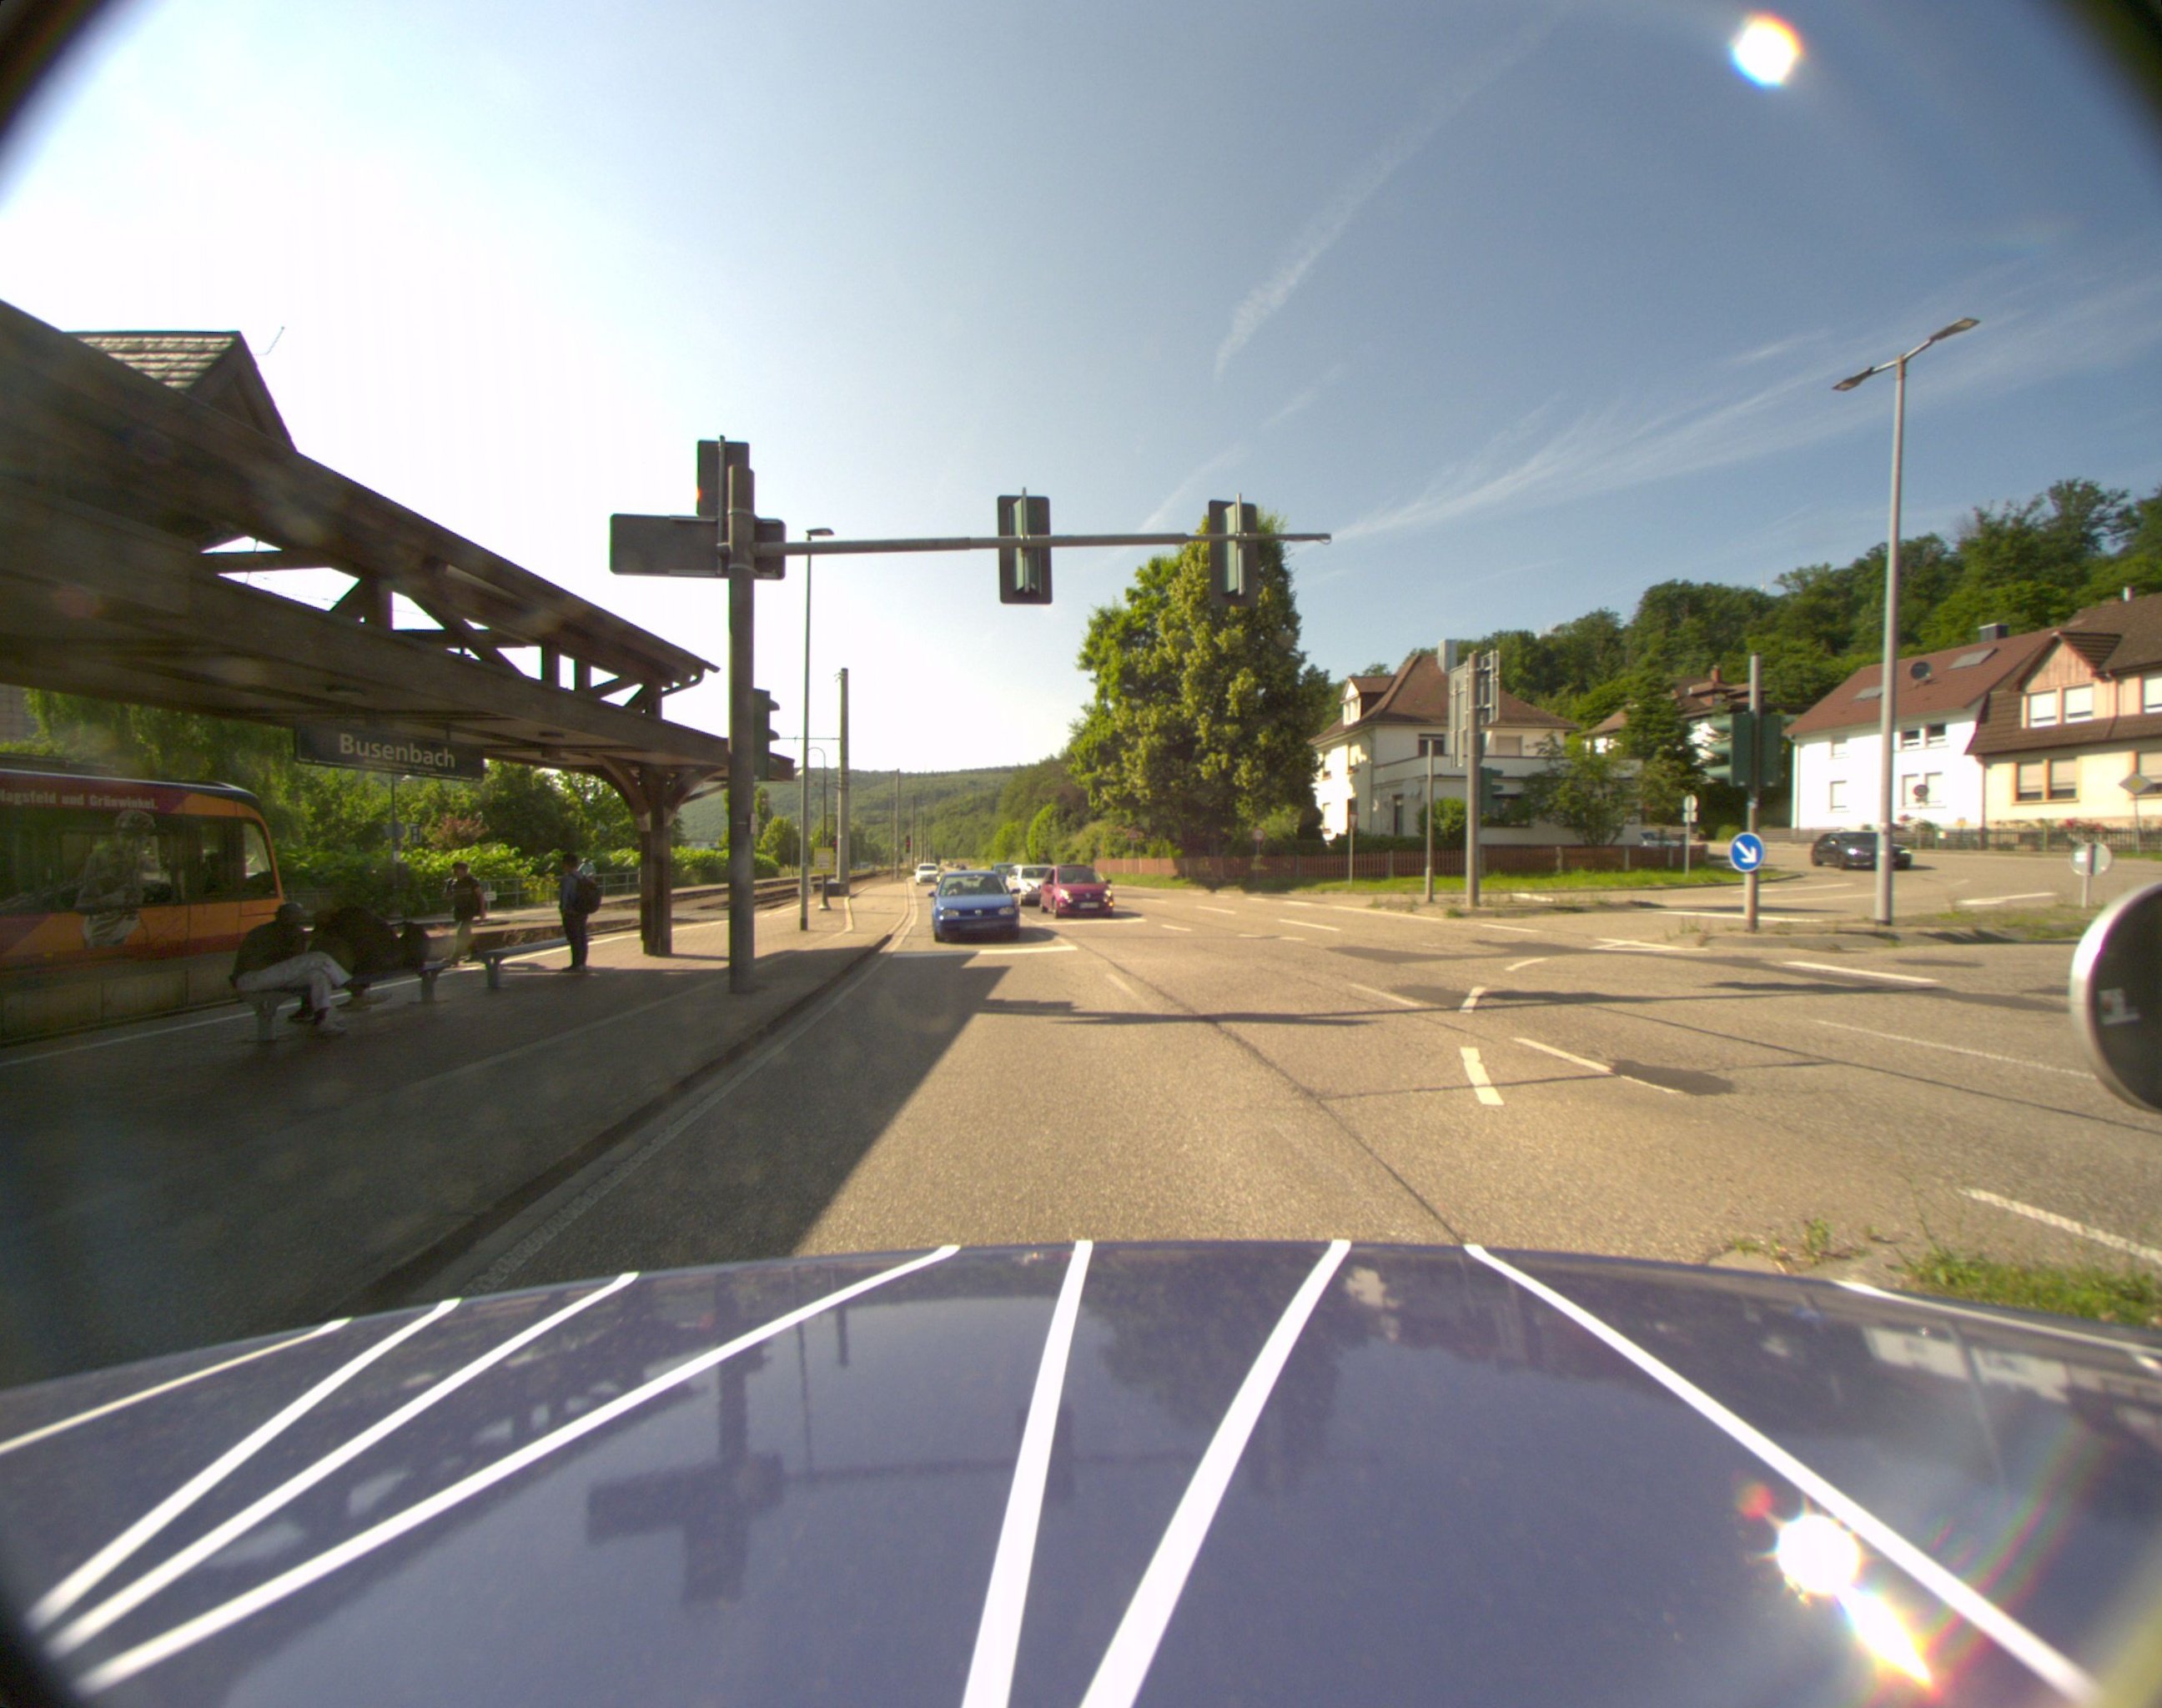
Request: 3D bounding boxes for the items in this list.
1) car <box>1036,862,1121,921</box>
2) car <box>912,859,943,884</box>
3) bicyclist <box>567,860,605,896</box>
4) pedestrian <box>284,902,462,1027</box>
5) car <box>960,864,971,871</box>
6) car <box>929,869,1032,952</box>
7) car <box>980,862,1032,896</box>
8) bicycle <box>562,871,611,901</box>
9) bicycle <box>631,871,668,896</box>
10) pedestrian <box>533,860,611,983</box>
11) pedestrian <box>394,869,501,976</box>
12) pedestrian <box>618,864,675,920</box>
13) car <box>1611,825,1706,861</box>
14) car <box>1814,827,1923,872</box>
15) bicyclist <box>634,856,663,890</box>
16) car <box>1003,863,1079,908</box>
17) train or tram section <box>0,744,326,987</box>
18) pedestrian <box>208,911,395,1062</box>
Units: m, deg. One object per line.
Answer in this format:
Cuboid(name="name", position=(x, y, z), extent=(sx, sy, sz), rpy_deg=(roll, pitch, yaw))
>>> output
Cuboid(name="car", position=(-0.164, 1.034, 22.266), extent=(1.663, 1.525, 3.951), rpy_deg=(-1, -1, -12))
Cuboid(name="car", position=(-10.843, 1.222, 53.940), extent=(2.000, 1.575, 3.997), rpy_deg=(-3, 0, -10))
Cuboid(name="bicyclist", position=(-22.026, 1.060, 33.858), extent=(1.010, 1.544, 1.040), rpy_deg=(-3, -1, -7))
Cuboid(name="pedestrian", position=(-7.510, 1.135, 8.128), extent=(1.010, 1.153, 0.948), rpy_deg=(-1, 1, -10))
Cuboid(name="car", position=(-28.415, 3.335, 186.735), extent=(2.001, 1.673, 3.995), rpy_deg=(-3, -1, -16))
Cuboid(name="car", position=(-2.310, 1.096, 16.482), extent=(1.867, 1.474, 4.297), rpy_deg=(-1, 0, -12))
Cuboid(name="car", position=(-3.745, 1.210, 37.516), extent=(1.981, 1.495, 3.983), rpy_deg=(-2, -1, -14))
Cuboid(name="bicycle", position=(-22.055, 1.428, 33.936), extent=(0.873, 1.246, 2.294), rpy_deg=(-3, -1, -7))
Cuboid(name="bicycle", position=(-22.912, 1.564, 40.393), extent=(0.873, 1.246, 2.294), rpy_deg=(-3, -1, -7))
Cuboid(name="pedestrian", position=(-7.208, 0.924, 10.794), extent=(0.659, 1.682, 0.738), rpy_deg=(-1, 0, -10))
Cuboid(name="pedestrian", position=(-9.589, 1.005, 11.538), extent=(0.863, 1.538, 0.922), rpy_deg=(-1, -1, -2))
Cuboid(name="pedestrian", position=(-14.015, 1.211, 24.534), extent=(1.250, 1.726, 0.917), rpy_deg=(-3, -1, 5))
Cuboid(name="car", position=(29.274, -0.521, 38.696), extent=(1.938, 1.627, 4.002), rpy_deg=(-3, -1, 5))
Cuboid(name="car", position=(30.042, -0.162, 29.133), extent=(1.995, 1.499, 4.008), rpy_deg=(-3, -1, 33))
Cuboid(name="bicyclist", position=(-22.917, 1.022, 40.312), extent=(1.010, 1.716, 0.865), rpy_deg=(-3, -1, -7))
Cuboid(name="car", position=(-1.609, 1.143, 28.496), extent=(1.981, 1.495, 4.746), rpy_deg=(-2, -1, -14))
Cuboid(name="train or tram section", position=(-16.190, 0.197, 7.808), extent=(2.863, 3.345, 14.351), rpy_deg=(-2, 0, -2))
Cuboid(name="pedestrian", position=(-7.082, 1.173, 6.949), extent=(0.994, 1.228, 0.596), rpy_deg=(-3, -1, -10))
